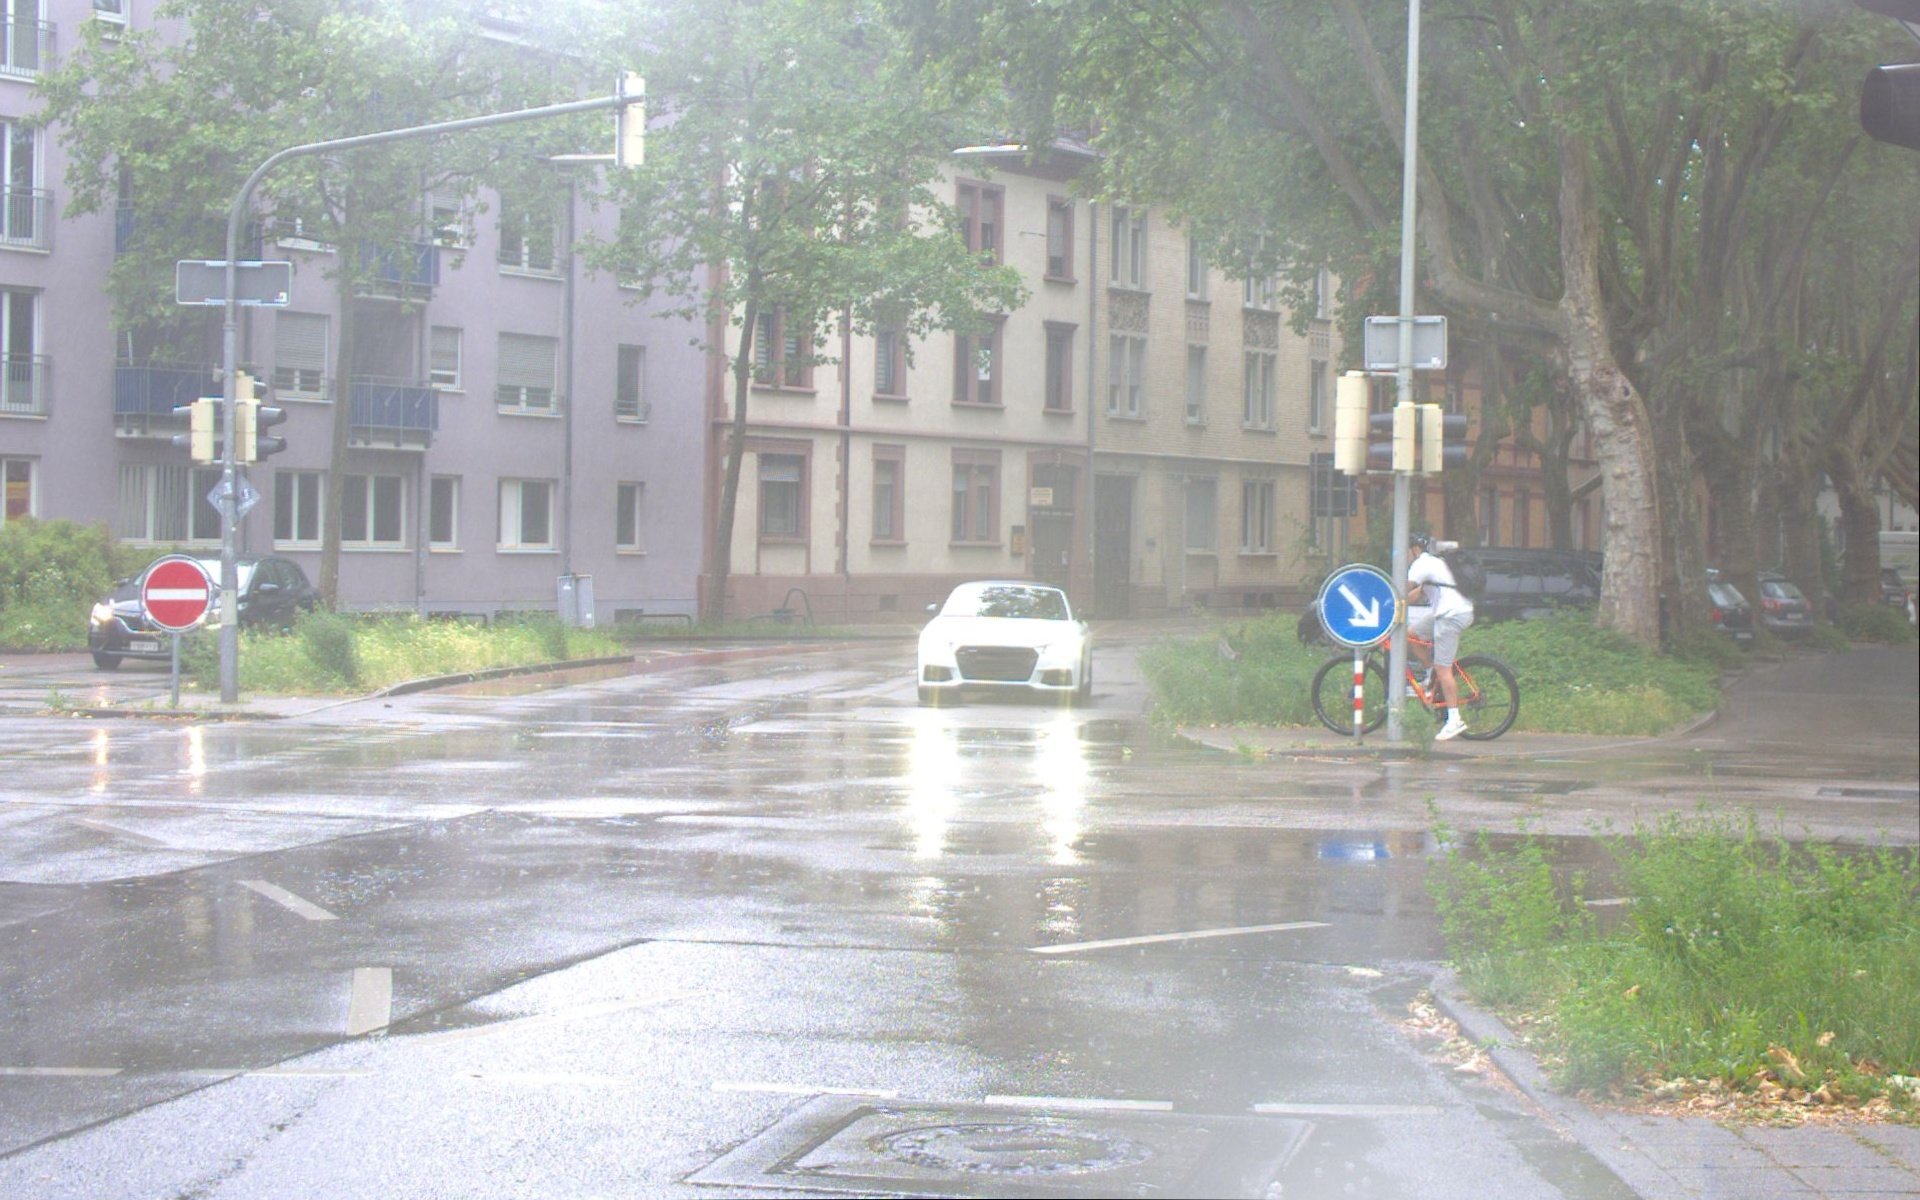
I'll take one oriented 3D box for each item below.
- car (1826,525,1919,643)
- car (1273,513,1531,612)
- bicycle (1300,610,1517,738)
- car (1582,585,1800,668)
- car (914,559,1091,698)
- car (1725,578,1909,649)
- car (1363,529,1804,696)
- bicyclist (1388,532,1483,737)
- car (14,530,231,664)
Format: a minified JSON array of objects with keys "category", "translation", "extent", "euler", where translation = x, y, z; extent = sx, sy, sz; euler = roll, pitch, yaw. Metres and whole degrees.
[{"category":"car","translation":[24.389,-0.419,87.718],"extent":[2.033,2.938,4.773],"euler":[1,1,-21]},{"category":"car","translation":[6.969,-0.599,54.080],"extent":[3.868,1.481,1.715],"euler":[1,0,12]},{"category":"bicycle","translation":[3.962,0.643,30.396],"extent":[1.873,1.077,0.657],"euler":[1,0,8]},{"category":"car","translation":[13.918,0.485,65.488],"extent":[3.989,1.481,1.999],"euler":[1,1,12]},{"category":"car","translation":[0.509,0.281,39.125],"extent":[1.884,1.431,4.000],"euler":[1,1,1]},{"category":"car","translation":[19.570,0.303,78.656],"extent":[3.989,1.542,1.999],"euler":[1,1,12]},{"category":"car","translation":[5.947,0.097,32.754],"extent":[3.989,1.481,1.999],"euler":[1,1,12]},{"category":"bicyclist","translation":[4.197,0.295,30.364],"extent":[0.795,1.780,0.697],"euler":[1,0,8]},{"category":"car","translation":[-10.047,-0.068,41.497],"extent":[1.751,1.506,3.839],"euler":[1,1,-2]}]
